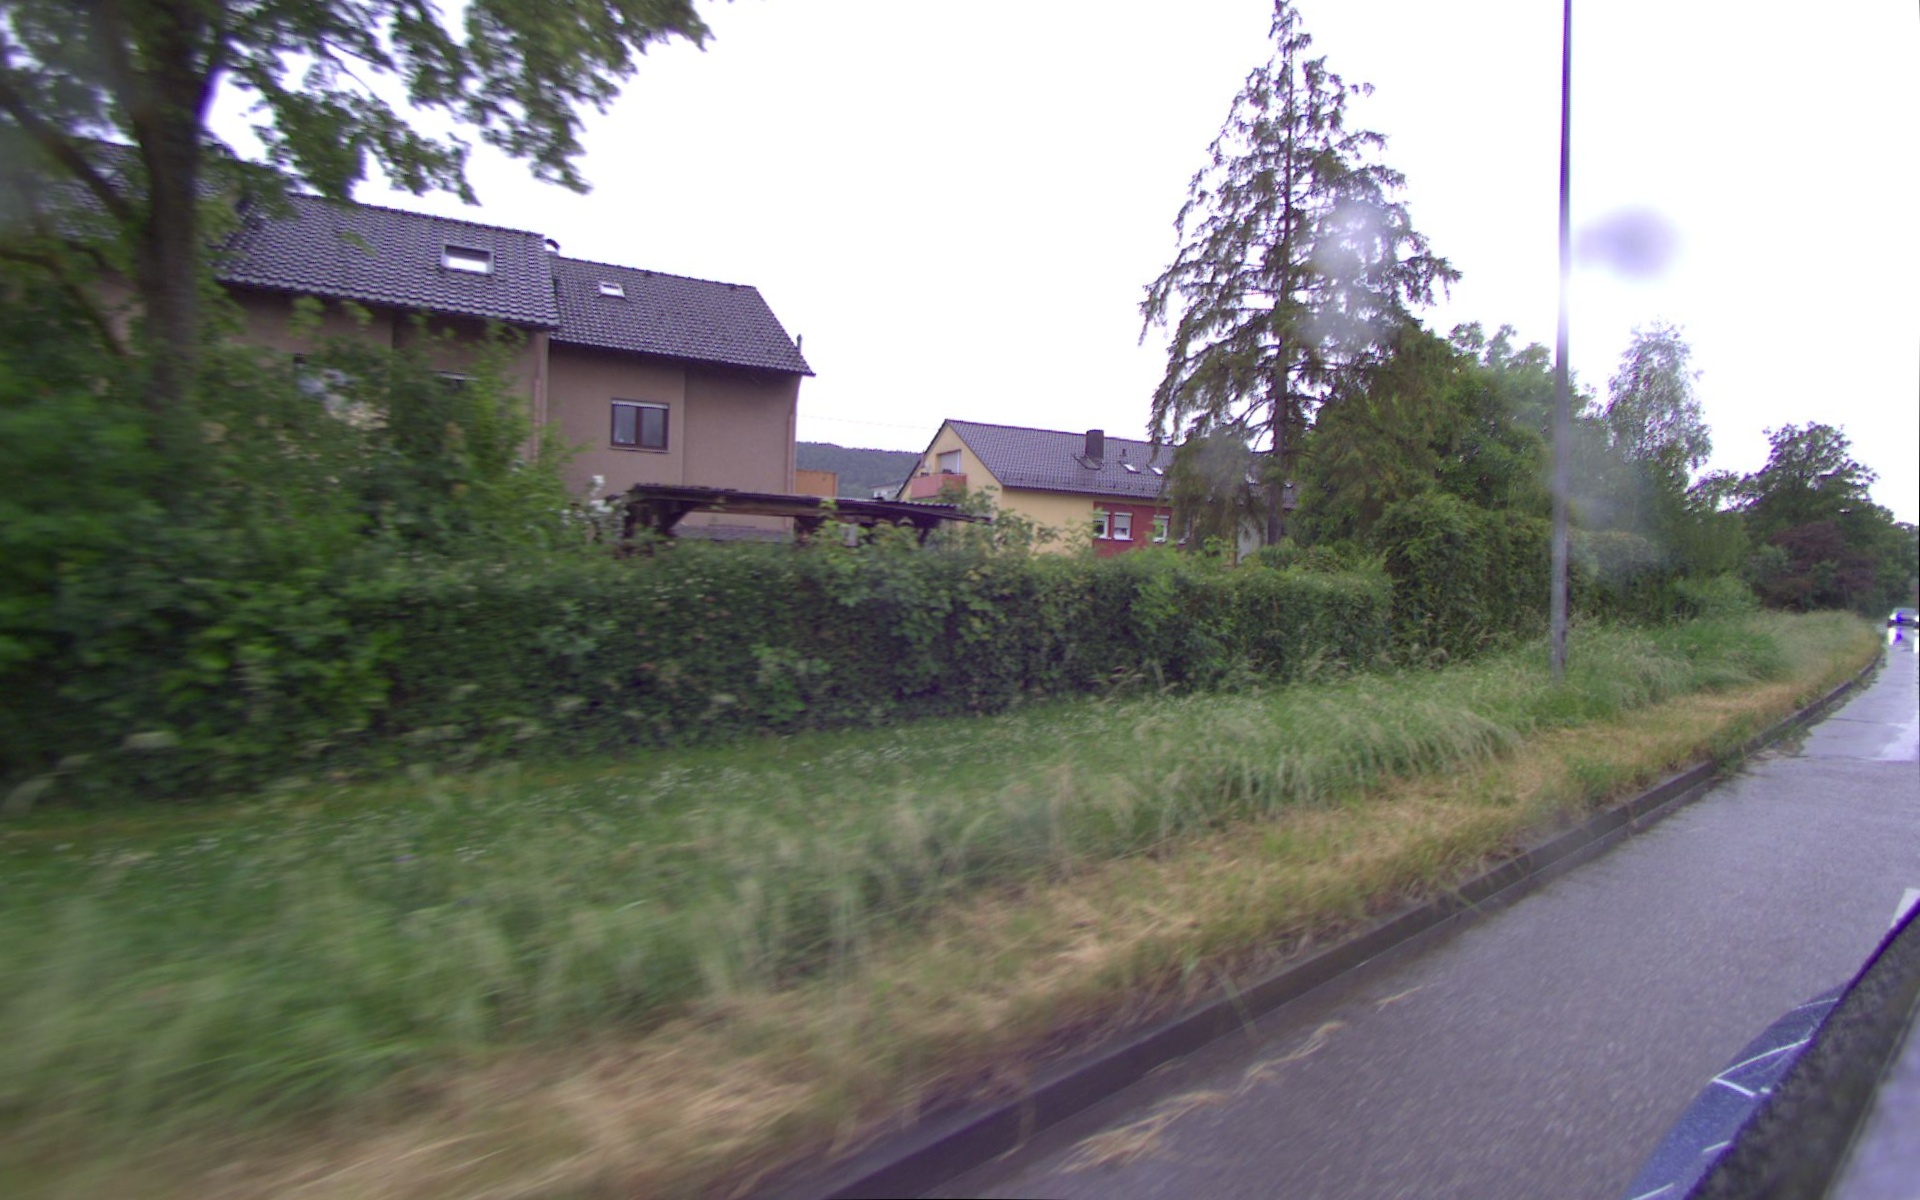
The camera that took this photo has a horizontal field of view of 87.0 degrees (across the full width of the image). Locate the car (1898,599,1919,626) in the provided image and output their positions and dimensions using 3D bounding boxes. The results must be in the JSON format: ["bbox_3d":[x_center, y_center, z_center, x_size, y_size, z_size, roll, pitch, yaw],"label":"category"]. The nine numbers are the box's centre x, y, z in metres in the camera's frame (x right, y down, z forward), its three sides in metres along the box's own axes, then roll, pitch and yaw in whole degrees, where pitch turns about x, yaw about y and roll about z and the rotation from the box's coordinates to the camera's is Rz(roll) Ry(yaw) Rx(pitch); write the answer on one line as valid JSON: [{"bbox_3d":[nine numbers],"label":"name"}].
[{"bbox_3d":[70.301,0.929,74.287,1.993,1.864,3.938,3,1,43],"label":"car"}]
